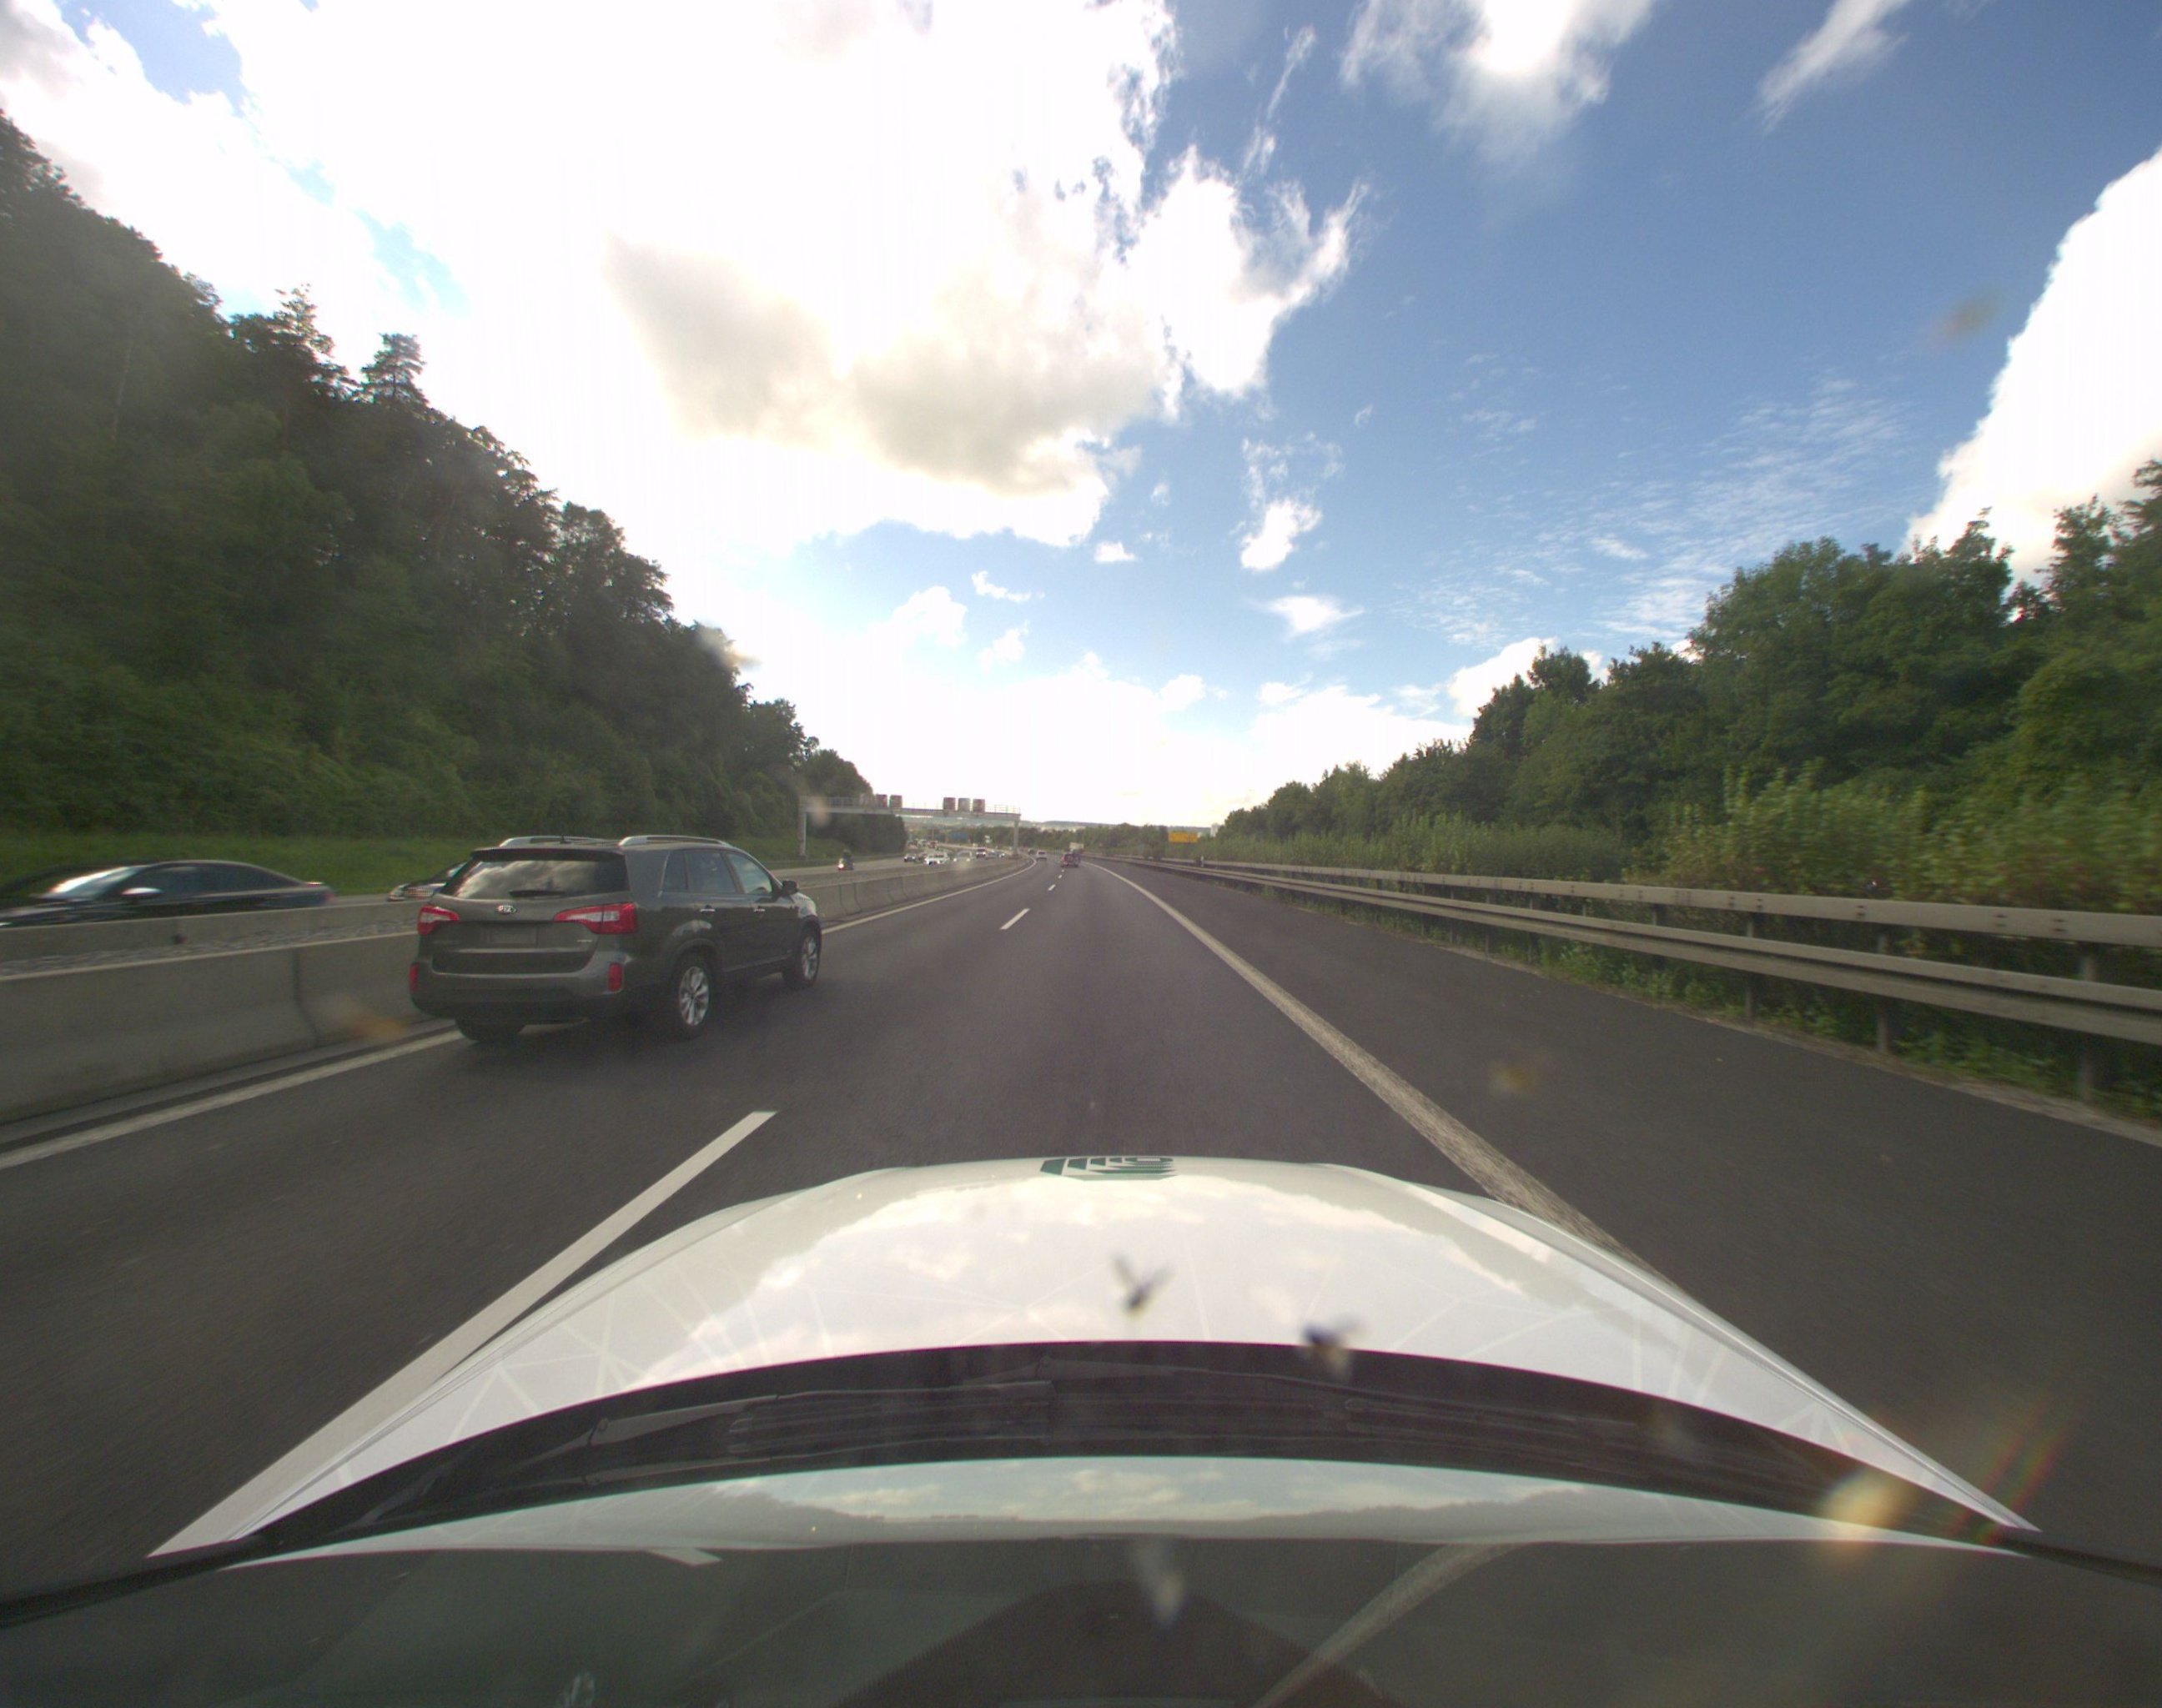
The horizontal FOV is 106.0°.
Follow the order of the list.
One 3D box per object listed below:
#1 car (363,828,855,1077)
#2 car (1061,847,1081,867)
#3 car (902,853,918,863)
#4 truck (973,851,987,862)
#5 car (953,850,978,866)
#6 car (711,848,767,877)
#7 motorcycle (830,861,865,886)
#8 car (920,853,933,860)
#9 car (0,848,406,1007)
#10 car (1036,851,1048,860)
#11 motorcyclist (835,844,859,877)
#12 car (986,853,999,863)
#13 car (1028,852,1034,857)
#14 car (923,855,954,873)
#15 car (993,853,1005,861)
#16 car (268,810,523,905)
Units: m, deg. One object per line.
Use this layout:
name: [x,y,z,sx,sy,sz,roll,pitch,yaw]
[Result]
car: [-4.036,0.685,8.299,1.810,1.736,5.189,0,0,2]
car: [-1.039,0.298,87.580,2.024,2.151,4.000,0,1,0]
car: [-27.143,0.670,129.230,1.800,1.574,4.553,0,0,-3]
truck: [-21.256,0.502,171.489,2.177,2.226,5.568,0,0,-1]
car: [-12.177,0.398,85.984,1.869,1.697,4.315,0,0,1]
car: [-24.571,0.588,58.693,2.019,2.034,4.780,0,0,0]
motorcycle: [-11.677,0.965,40.829,0.919,1.188,2.640,0,0,2]
car: [-28.844,0.515,152.016,1.819,1.311,4.181,0,0,-5]
car: [-11.942,0.782,10.708,1.985,1.627,4.780,0,-1,2]
car: [-7.244,0.322,151.612,1.990,1.684,3.993,0,-1,-5]
motorcyclist: [-11.672,0.320,40.666,0.892,1.633,0.922,0,0,1]
car: [-13.700,0.639,126.038,1.694,1.539,4.498,0,0,-1]
car: [-15.697,0.175,254.774,1.604,1.558,3.987,0,-1,-9]
car: [-12.096,0.850,69.243,1.754,1.460,4.296,0,0,1]
car: [-16.625,0.592,164.707,1.988,1.536,5.282,0,0,-1]
car: [-16.262,0.093,19.767,1.985,2.014,4.780,0,-1,2]
